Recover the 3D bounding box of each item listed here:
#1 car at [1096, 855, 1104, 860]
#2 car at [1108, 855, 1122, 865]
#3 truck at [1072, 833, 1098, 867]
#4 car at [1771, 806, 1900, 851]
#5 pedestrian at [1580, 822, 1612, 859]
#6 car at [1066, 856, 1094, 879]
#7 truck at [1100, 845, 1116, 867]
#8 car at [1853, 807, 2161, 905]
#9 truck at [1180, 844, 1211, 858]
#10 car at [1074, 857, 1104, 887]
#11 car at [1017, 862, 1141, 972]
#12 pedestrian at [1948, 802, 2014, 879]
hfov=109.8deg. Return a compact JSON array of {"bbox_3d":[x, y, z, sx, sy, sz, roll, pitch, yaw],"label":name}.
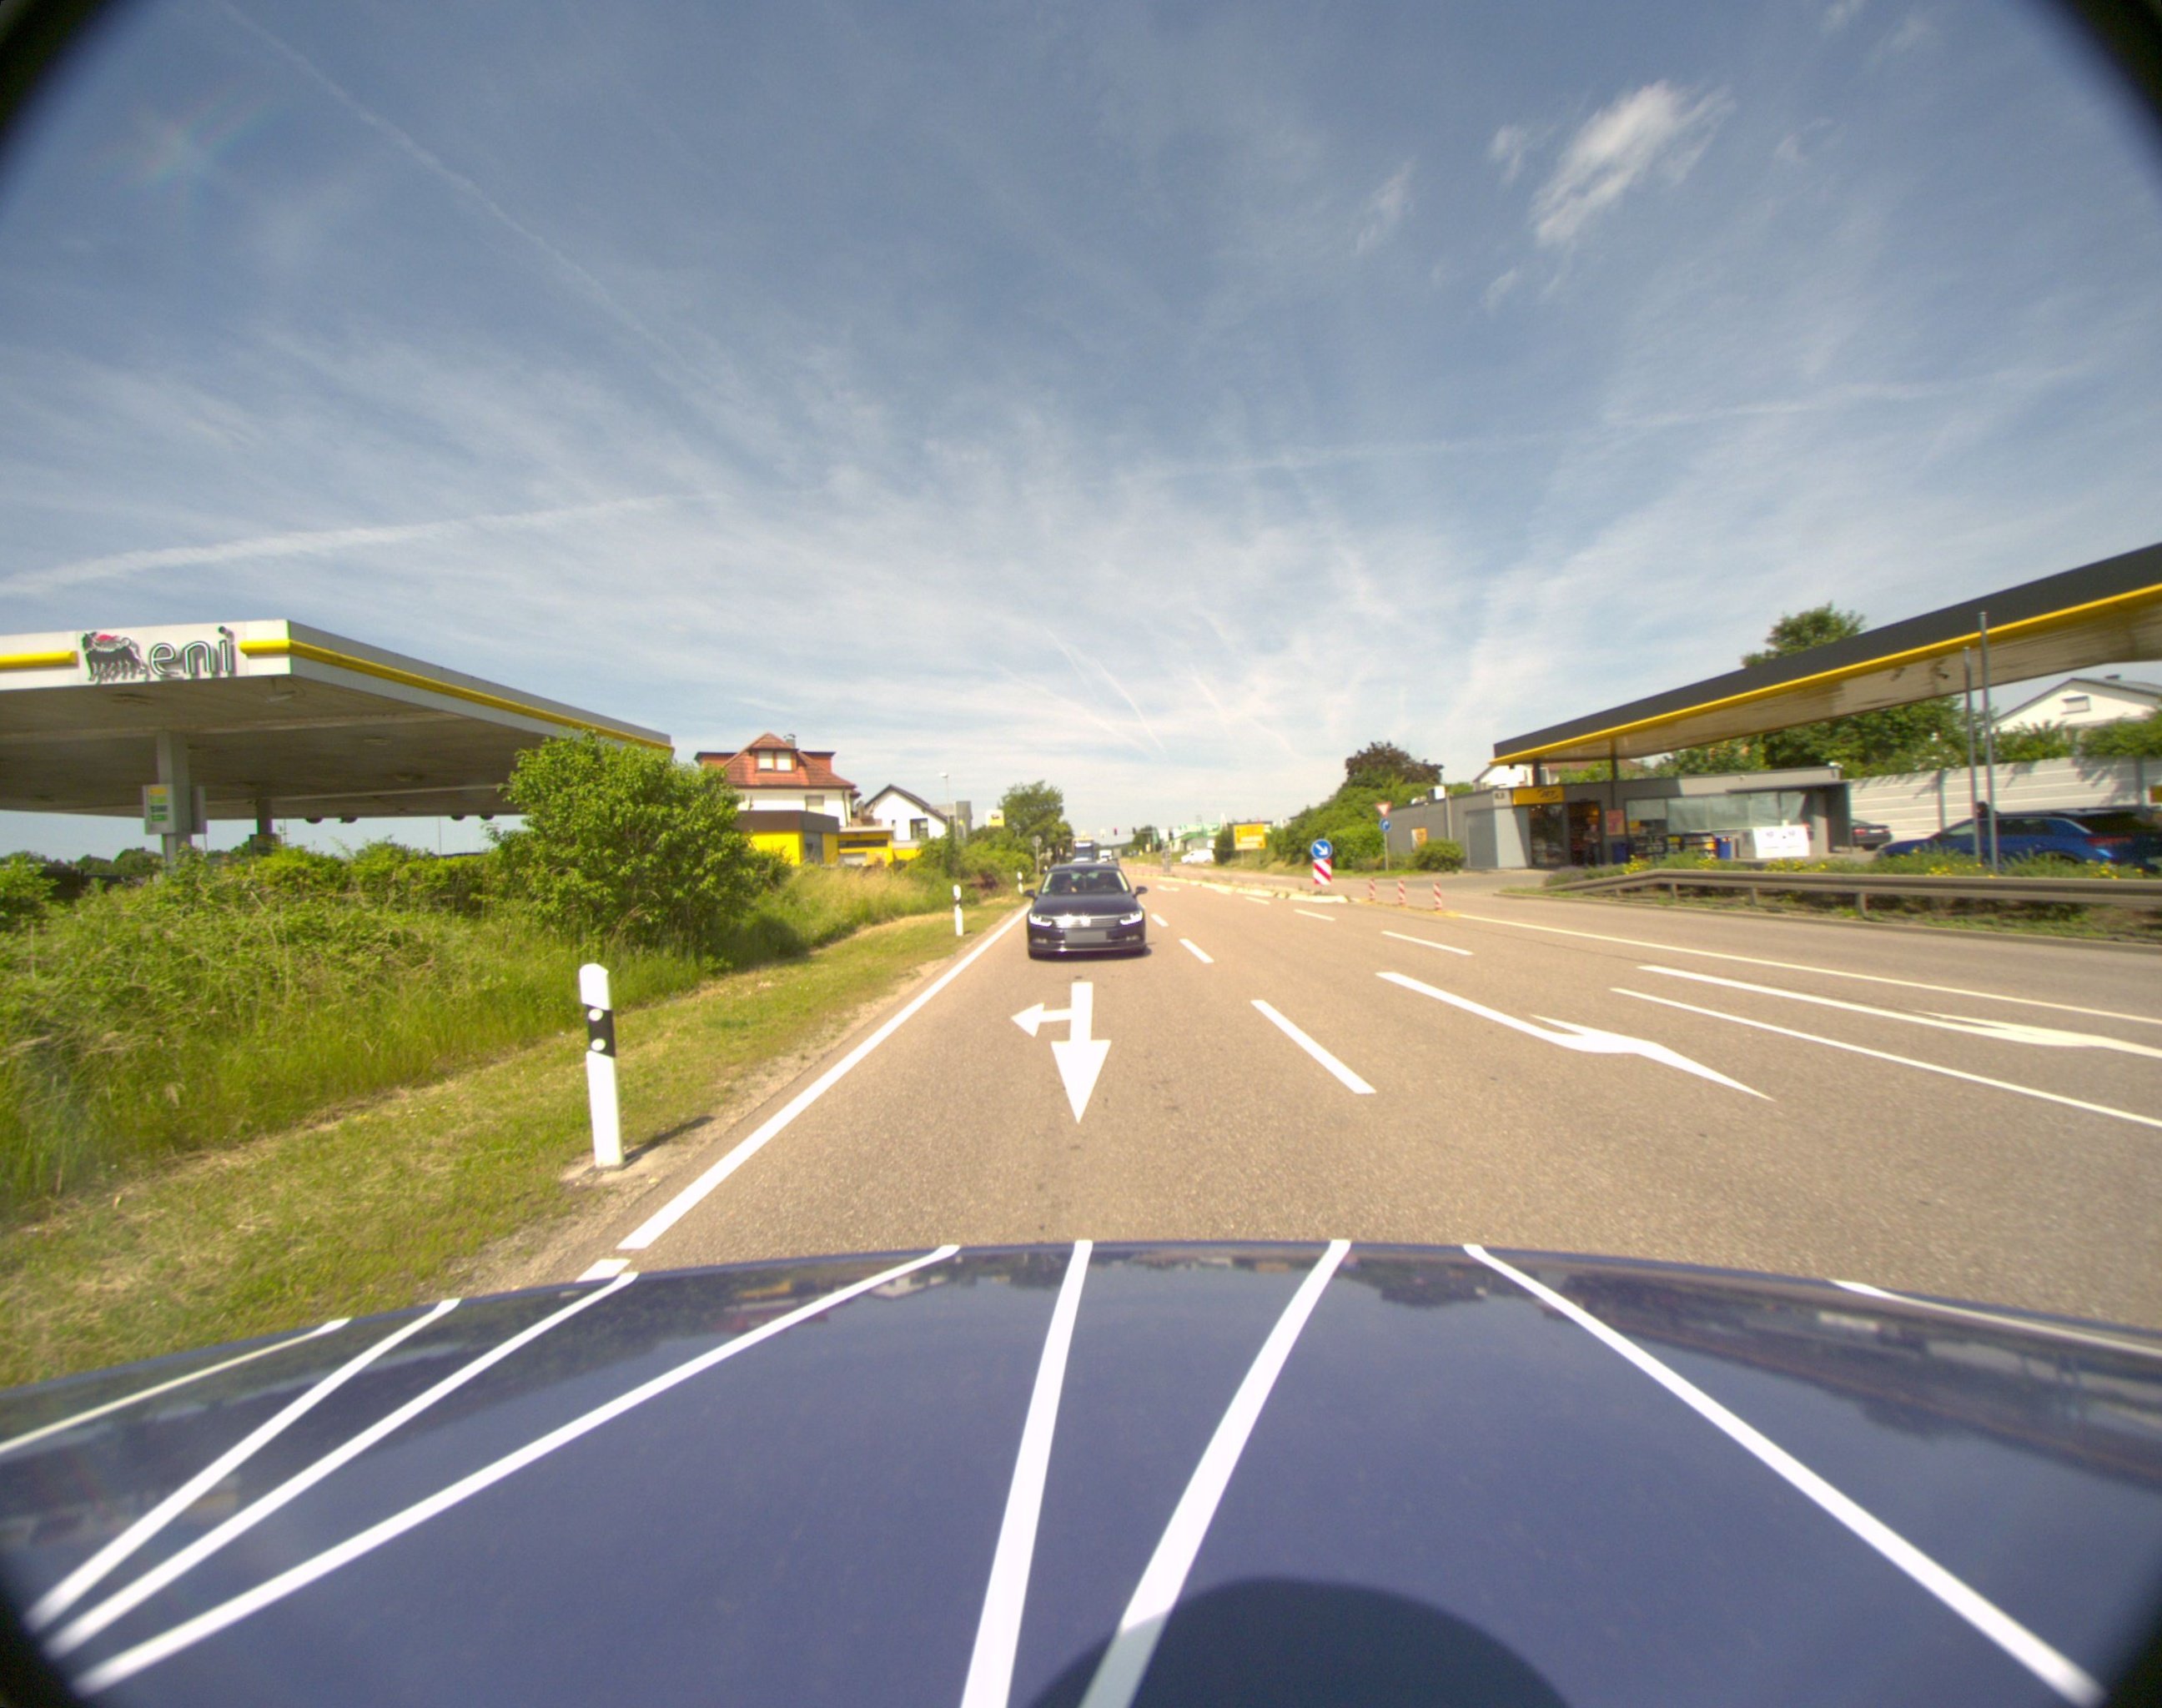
[{"bbox_3d":[5.266,0.963,209.185,1.847,1.477,4.001,-3,0,4],"label":"car"},{"bbox_3d":[4.666,0.777,104.703,1.786,1.210,4.000,-3,0,2],"label":"car"},{"bbox_3d":[0.622,-0.453,97.207,2.855,3.999,12.917,-2,0,1],"label":"truck"},{"bbox_3d":[32.194,-1.078,32.597,1.619,1.724,3.987,-3,1,2],"label":"car"},{"bbox_3d":[20.568,-0.541,30.332,0.914,1.419,0.495,-2,1,14],"label":"pedestrian"},{"bbox_3d":[-0.028,0.922,54.593,1.814,1.466,3.974,-3,0,1],"label":"car"},{"bbox_3d":[5.133,0.400,145.915,2.855,3.999,12.917,-2,0,1],"label":"truck"},{"bbox_3d":[18.973,0.035,15.499,1.999,1.696,4.264,-2,0,-2],"label":"car"},{"bbox_3d":[19.284,-0.466,127.639,4.771,1.997,2.000,-3,0,-1],"label":"truck"},{"bbox_3d":[0.399,0.924,40.436,1.471,1.451,3.796,-2,0,-1],"label":"car"},{"bbox_3d":[0.029,0.947,13.499,1.756,1.493,4.925,-2,0,1],"label":"car"},{"bbox_3d":[22.161,-0.336,18.724,0.798,1.827,0.640,-3,0,2],"label":"pedestrian"}]
